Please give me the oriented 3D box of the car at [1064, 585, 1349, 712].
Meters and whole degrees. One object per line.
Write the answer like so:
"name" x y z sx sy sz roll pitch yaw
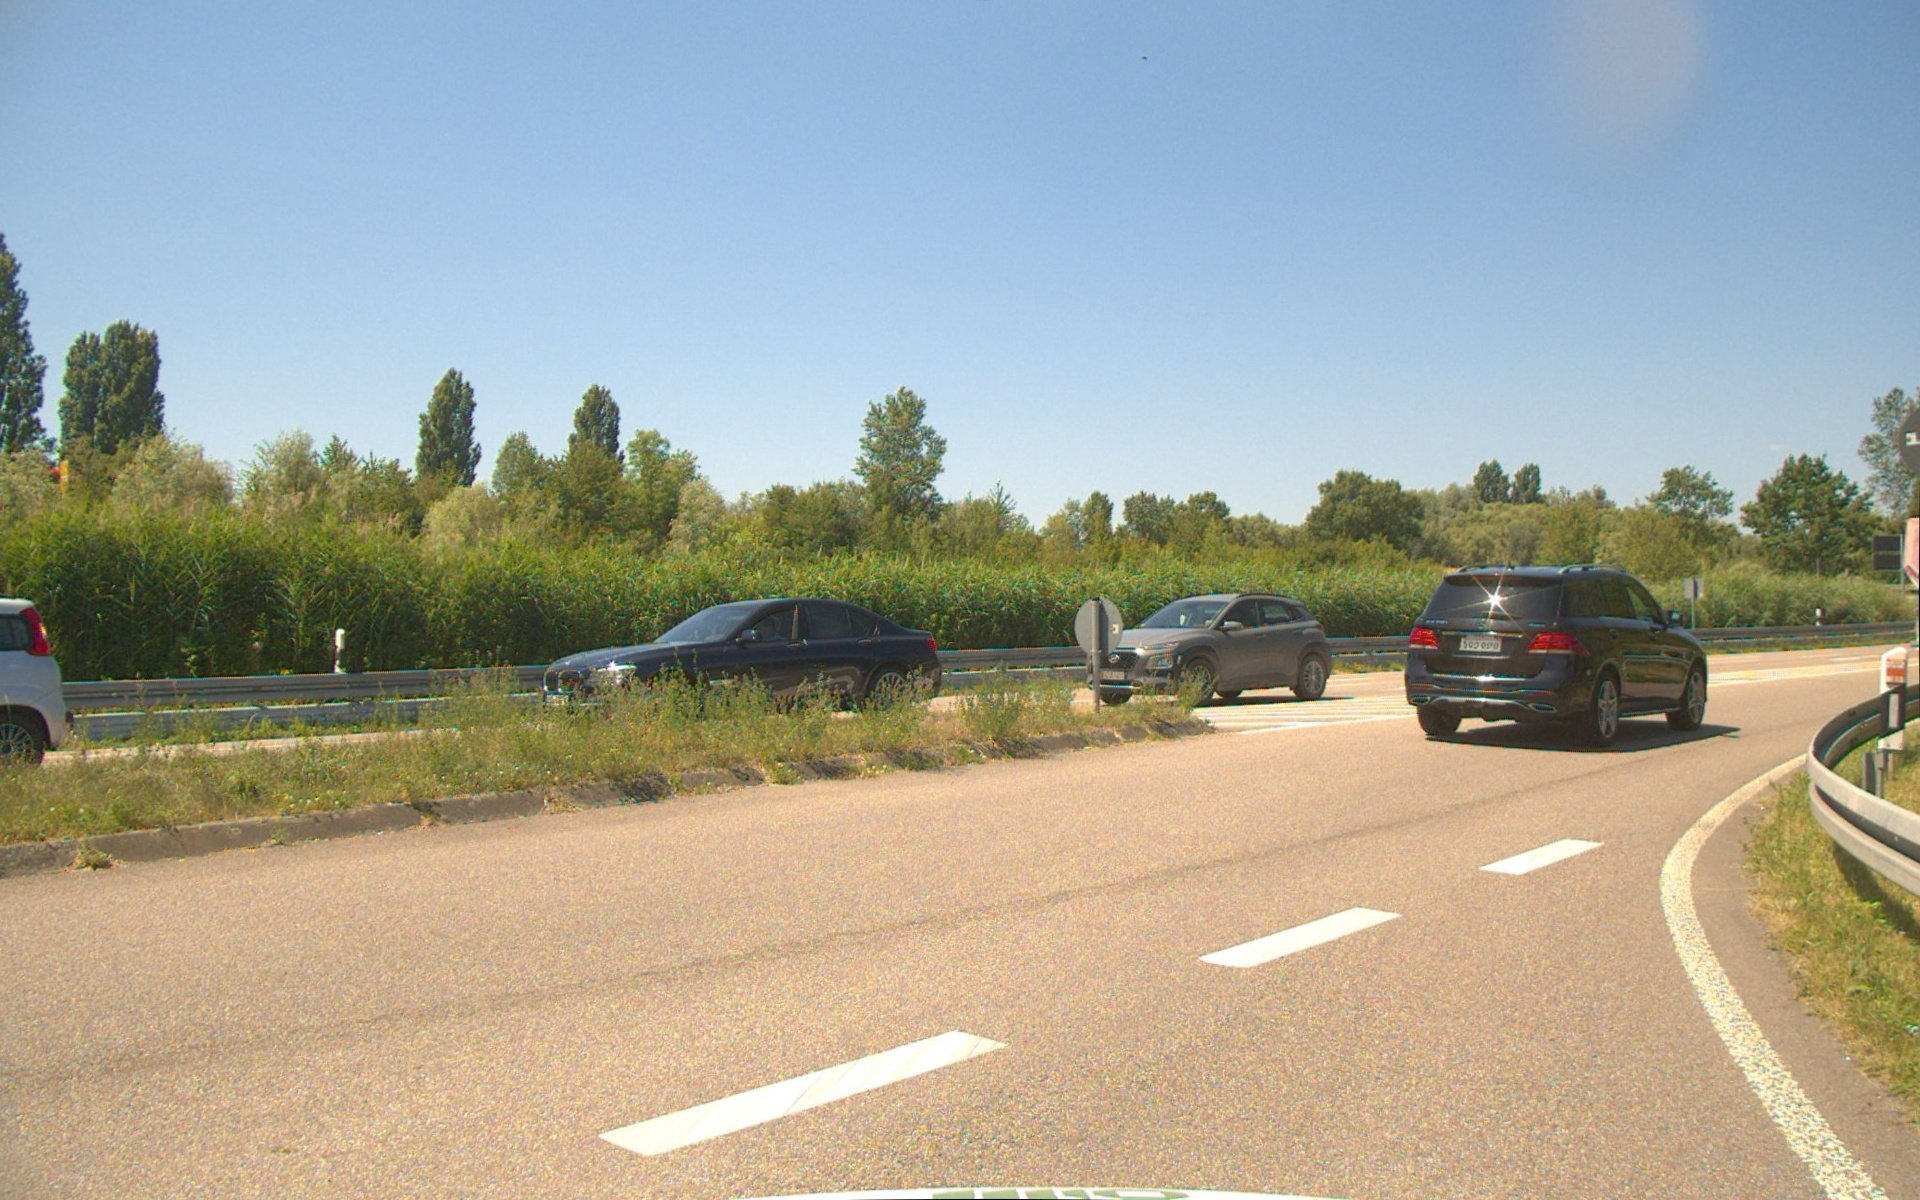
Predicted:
"car" 3.665 0.636 24.195 4.203 1.660 1.904 -1 0 -42

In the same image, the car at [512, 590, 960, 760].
"car" -2.457 0.755 19.035 4.898 1.660 1.904 -1 0 -42

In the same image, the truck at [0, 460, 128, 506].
"truck" -61.894 -7.981 113.486 8.457 2.721 1.968 -1 0 -44

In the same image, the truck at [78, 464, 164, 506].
"truck" -58.976 -8.055 116.324 5.066 2.721 1.968 -1 0 -43

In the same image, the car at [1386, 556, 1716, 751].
"car" 6.431 0.498 17.681 1.898 1.799 4.573 0 0 40

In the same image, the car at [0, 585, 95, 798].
"car" -8.955 0.744 12.805 3.689 1.660 1.707 -1 0 -44

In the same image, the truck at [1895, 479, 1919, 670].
"truck" 24.223 -0.609 37.213 2.794 3.888 11.806 -1 0 43
